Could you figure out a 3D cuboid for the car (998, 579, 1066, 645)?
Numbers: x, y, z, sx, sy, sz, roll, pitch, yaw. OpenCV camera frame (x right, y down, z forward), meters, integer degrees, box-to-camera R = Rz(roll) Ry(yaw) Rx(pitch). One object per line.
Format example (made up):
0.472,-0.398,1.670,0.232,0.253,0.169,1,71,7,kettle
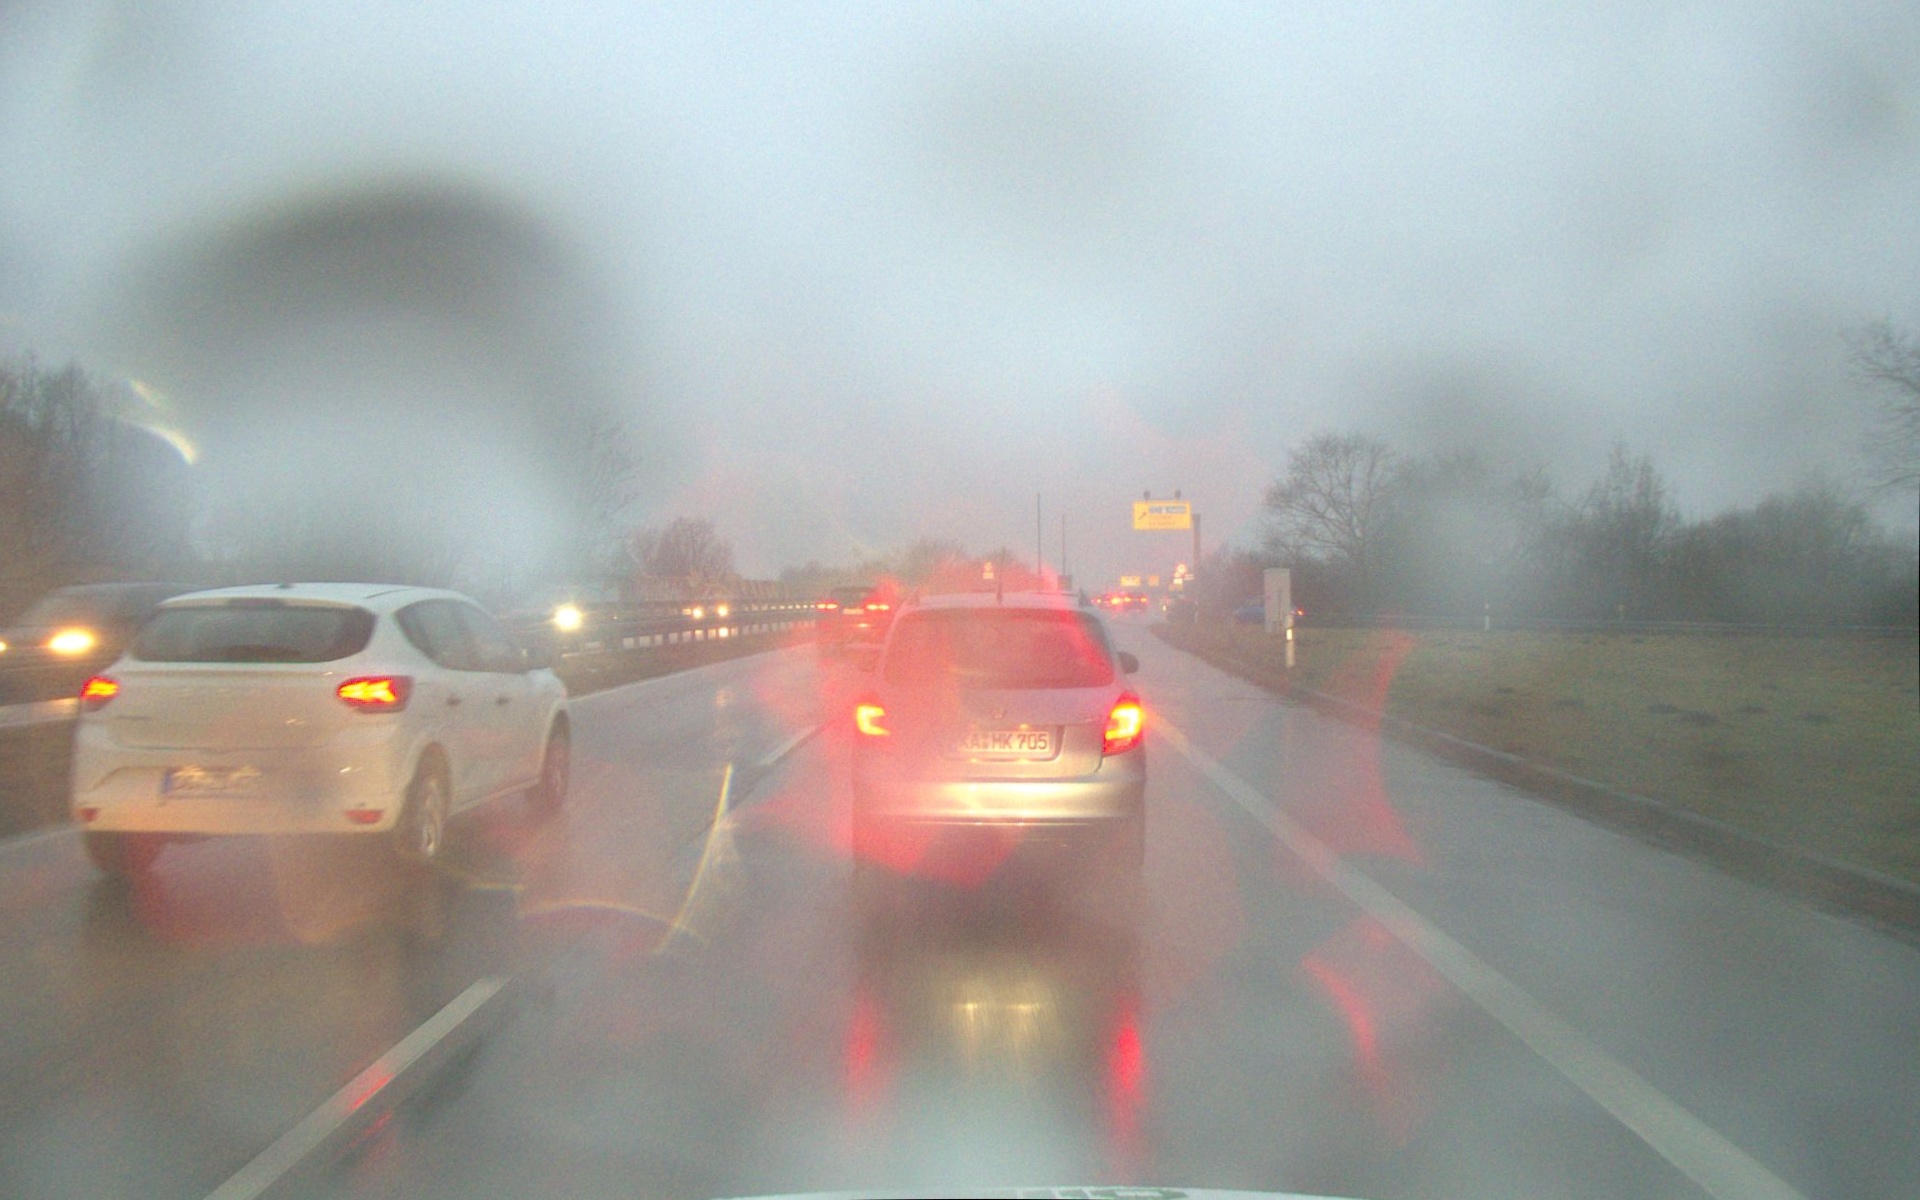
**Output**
2.062,0.324,47.305,1.858,1.798,4.310,0,0,3,car

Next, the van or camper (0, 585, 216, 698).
-14.994,0.646,28.523,1.724,1.766,4.887,0,0,6,van or camper

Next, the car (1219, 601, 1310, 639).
13.303,0.849,72.405,1.771,1.572,3.958,-1,0,-31,car

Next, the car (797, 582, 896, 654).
-2.693,0.405,40.188,1.952,1.629,4.309,1,0,2,car

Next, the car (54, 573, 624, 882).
-3.396,0.603,10.002,1.688,1.465,4.227,0,0,3,car

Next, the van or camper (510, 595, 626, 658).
-9.985,0.642,42.413,1.494,1.507,4.437,0,0,6,van or camper

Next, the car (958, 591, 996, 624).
0.868,0.345,82.084,1.752,1.572,4.001,0,0,2,car

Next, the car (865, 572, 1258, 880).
0.562,0.639,10.350,1.952,1.527,4.138,0,0,2,car
